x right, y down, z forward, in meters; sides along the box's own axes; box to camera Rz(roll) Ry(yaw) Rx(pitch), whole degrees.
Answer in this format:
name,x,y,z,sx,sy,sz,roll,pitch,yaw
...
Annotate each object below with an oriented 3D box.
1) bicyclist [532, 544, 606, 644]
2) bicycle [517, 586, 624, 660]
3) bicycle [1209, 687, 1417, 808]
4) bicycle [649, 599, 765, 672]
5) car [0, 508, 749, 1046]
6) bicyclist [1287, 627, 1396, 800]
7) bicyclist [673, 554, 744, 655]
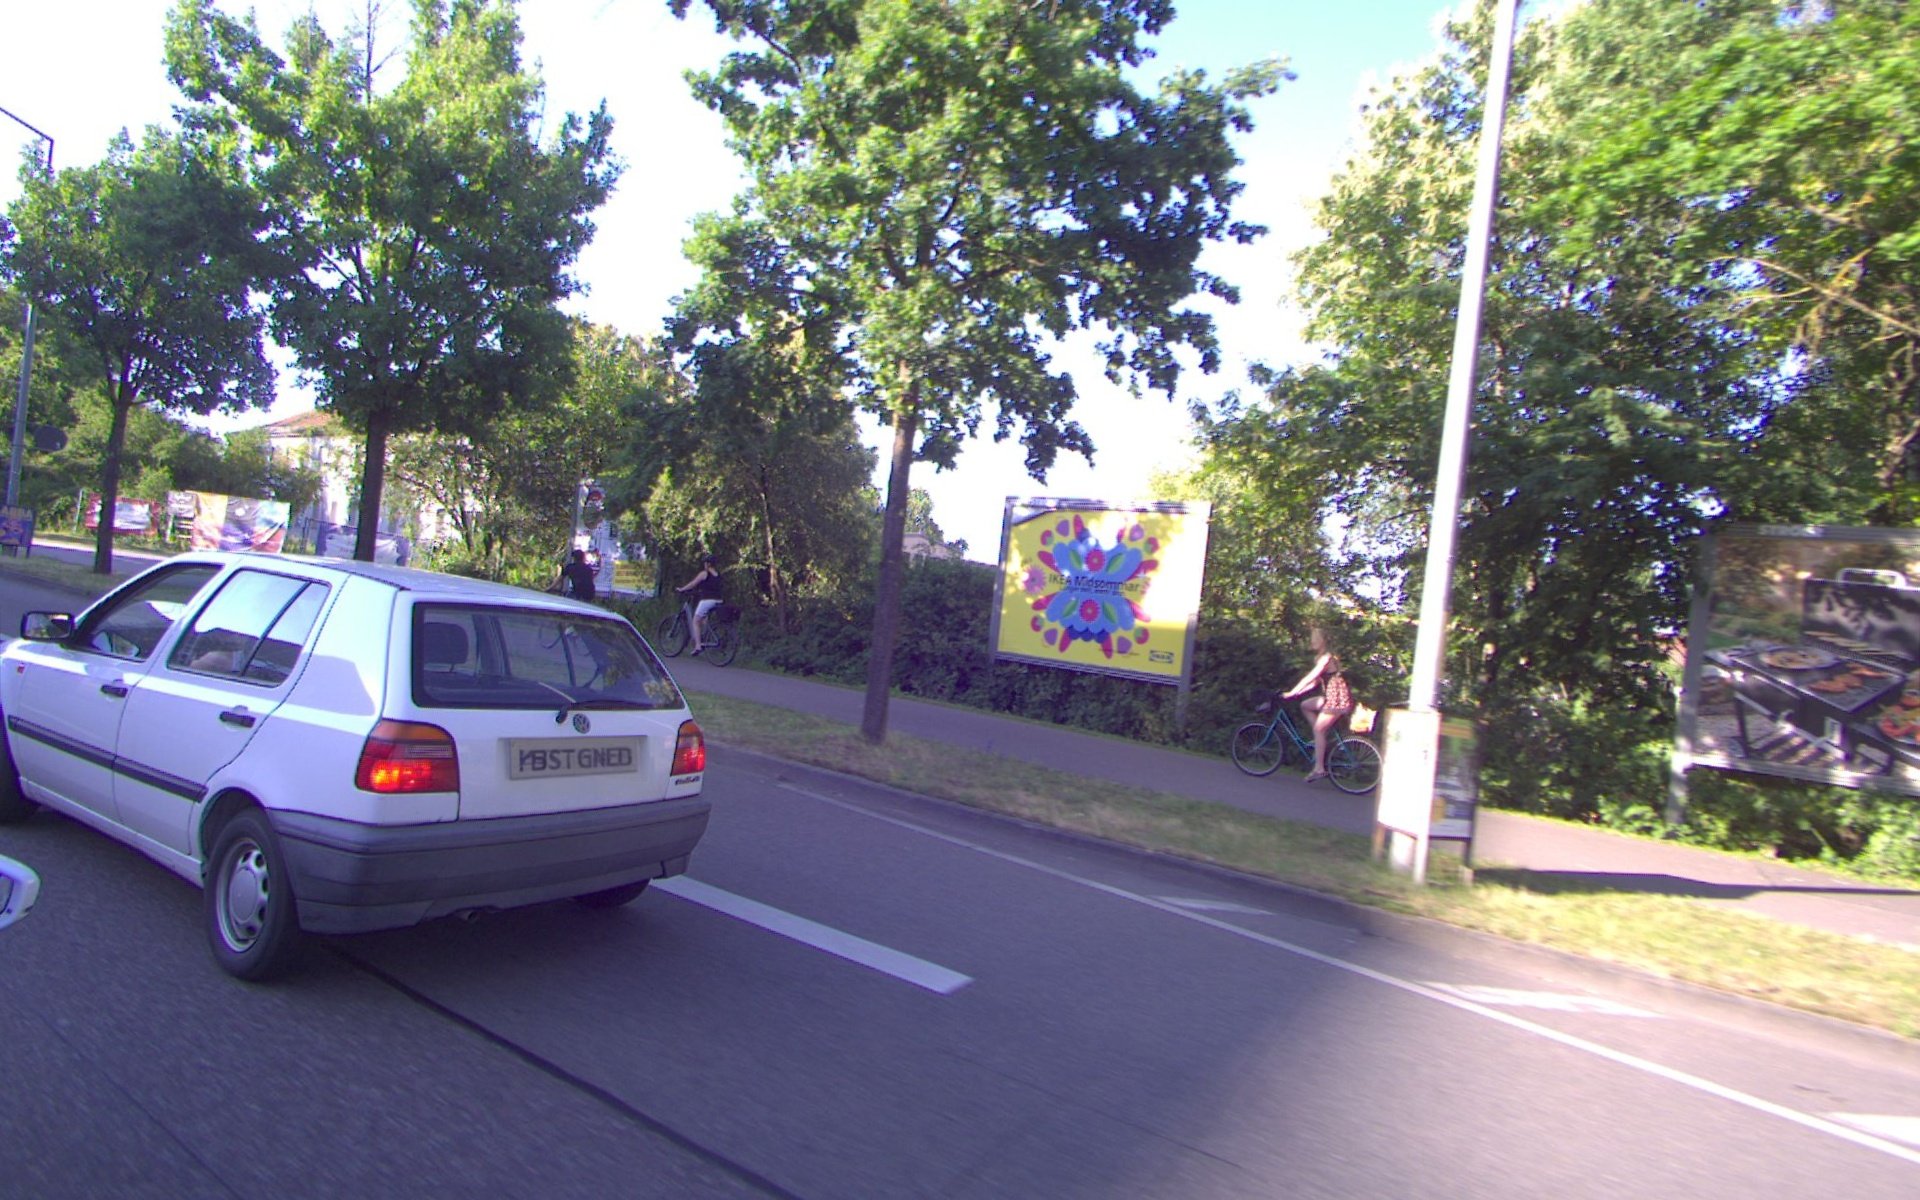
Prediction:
name,x,y,z,sx,sy,sz,roll,pitch,yaw
bicyclist,-6.396,-0.092,16.454,0.834,1.520,0.613,7,0,33
bicycle,-6.358,0.373,16.397,1.792,0.985,0.617,7,0,34
bicycle,3.928,1.609,11.281,2.025,0.985,0.617,7,0,34
bicycle,-4.313,0.588,17.082,2.025,0.985,0.617,7,0,34
car,-3.094,0.485,4.650,3.970,1.414,1.615,7,-2,31
bicyclist,4.211,1.231,11.110,0.834,1.754,0.603,7,0,33
bicyclist,-4.274,0.078,17.087,0.834,1.597,0.604,7,0,33
